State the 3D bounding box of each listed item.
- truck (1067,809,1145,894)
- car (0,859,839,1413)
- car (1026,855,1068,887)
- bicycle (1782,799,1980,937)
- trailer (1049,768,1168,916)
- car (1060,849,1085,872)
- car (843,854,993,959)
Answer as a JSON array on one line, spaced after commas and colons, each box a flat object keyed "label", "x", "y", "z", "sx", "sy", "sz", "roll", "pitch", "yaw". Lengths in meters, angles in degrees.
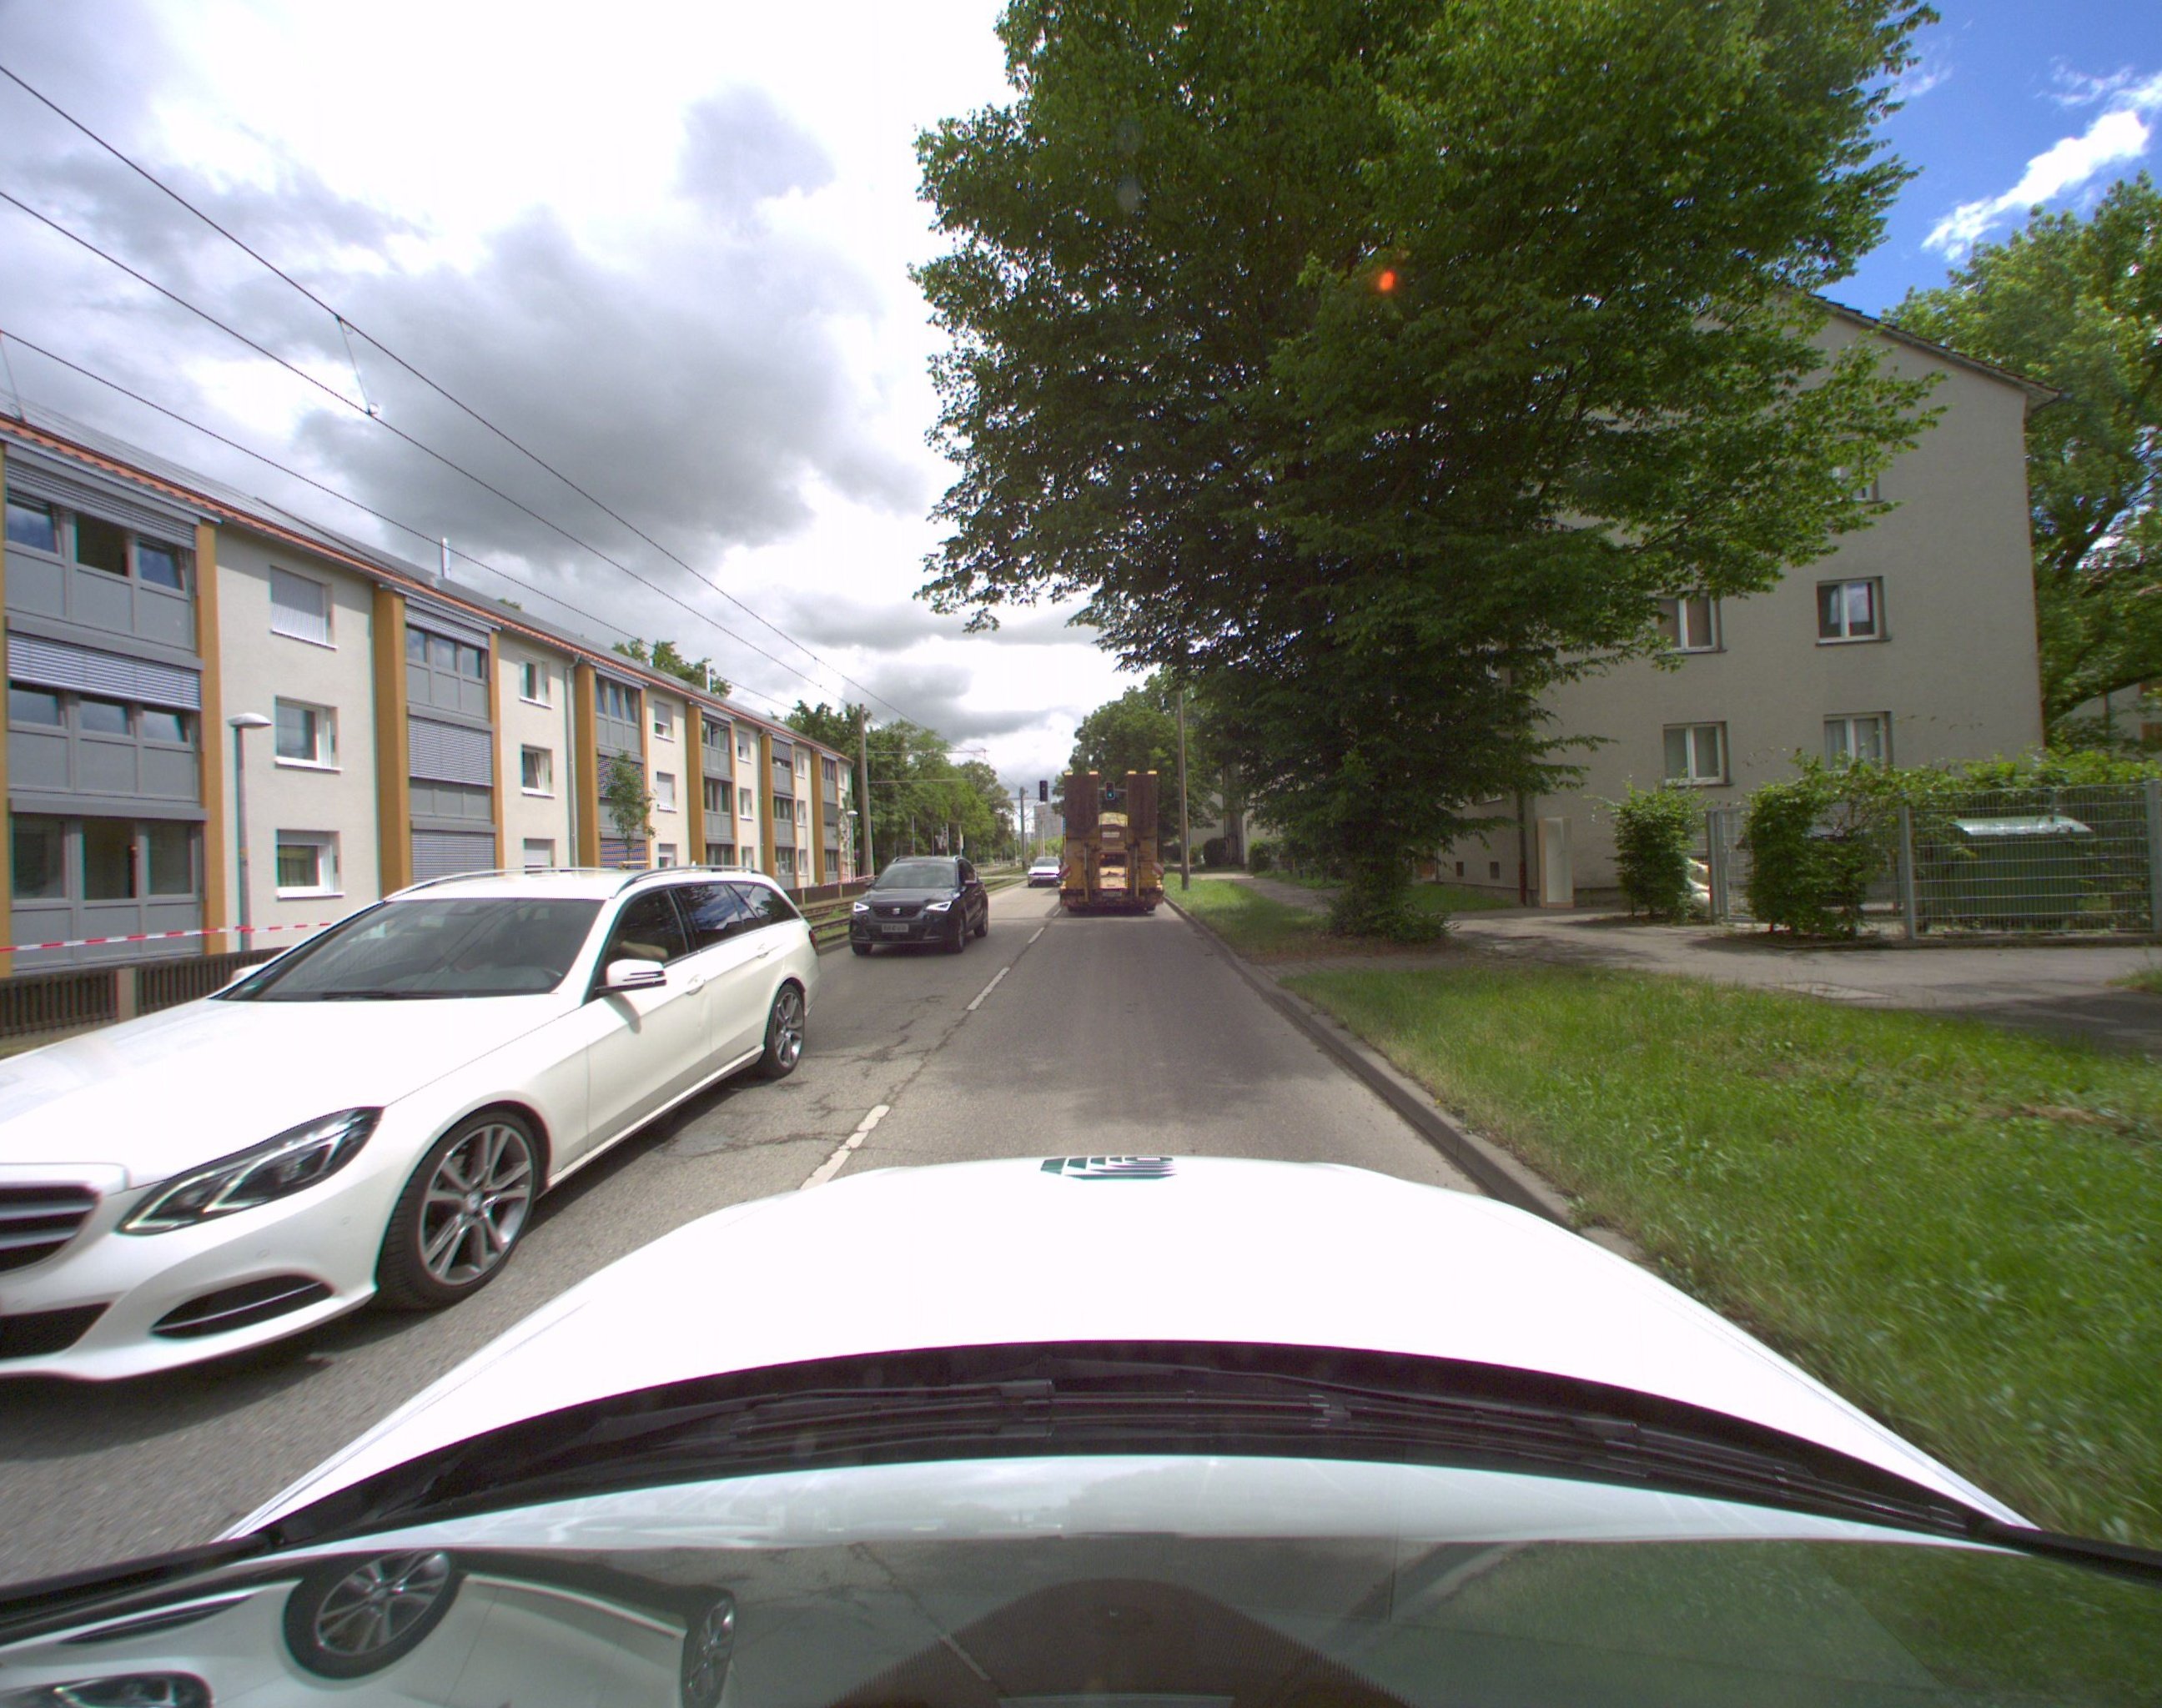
[{"label": "truck", "x": 1.059, "y": -0.088, "z": 34.478, "sx": 2.906, "sy": 3.167, "sz": 7.683, "roll": -1, "pitch": 0, "yaw": 2}, {"label": "car", "x": -3.010, "y": 0.796, "z": 4.509, "sx": 1.872, "sy": 1.481, "sz": 4.530, "roll": -1, "pitch": 0, "yaw": 1}, {"label": "car", "x": -1.598, "y": 0.789, "z": 39.647, "sx": 1.723, "sy": 1.417, "sz": 3.986, "roll": -1, "pitch": 0, "yaw": 2}, {"label": "bicycle", "x": 9.882, "y": 0.171, "z": 10.130, "sx": 1.341, "sy": 1.574, "sz": 1.073, "roll": -2, "pitch": 0, "yaw": 4}, {"label": "trailer", "x": 0.783, "y": -0.286, "z": 25.126, "sx": 2.812, "sy": 3.524, "sz": 11.054, "roll": -1, "pitch": 0, "yaw": 1}, {"label": "car", "x": -0.678, "y": 0.537, "z": 71.720, "sx": 1.935, "sy": 1.940, "sz": 4.319, "roll": -1, "pitch": 0, "yaw": 2}, {"label": "car", "x": -2.627, "y": 0.778, "z": 13.991, "sx": 1.644, "sy": 1.520, "sz": 3.867, "roll": -1, "pitch": 0, "yaw": 2}]
